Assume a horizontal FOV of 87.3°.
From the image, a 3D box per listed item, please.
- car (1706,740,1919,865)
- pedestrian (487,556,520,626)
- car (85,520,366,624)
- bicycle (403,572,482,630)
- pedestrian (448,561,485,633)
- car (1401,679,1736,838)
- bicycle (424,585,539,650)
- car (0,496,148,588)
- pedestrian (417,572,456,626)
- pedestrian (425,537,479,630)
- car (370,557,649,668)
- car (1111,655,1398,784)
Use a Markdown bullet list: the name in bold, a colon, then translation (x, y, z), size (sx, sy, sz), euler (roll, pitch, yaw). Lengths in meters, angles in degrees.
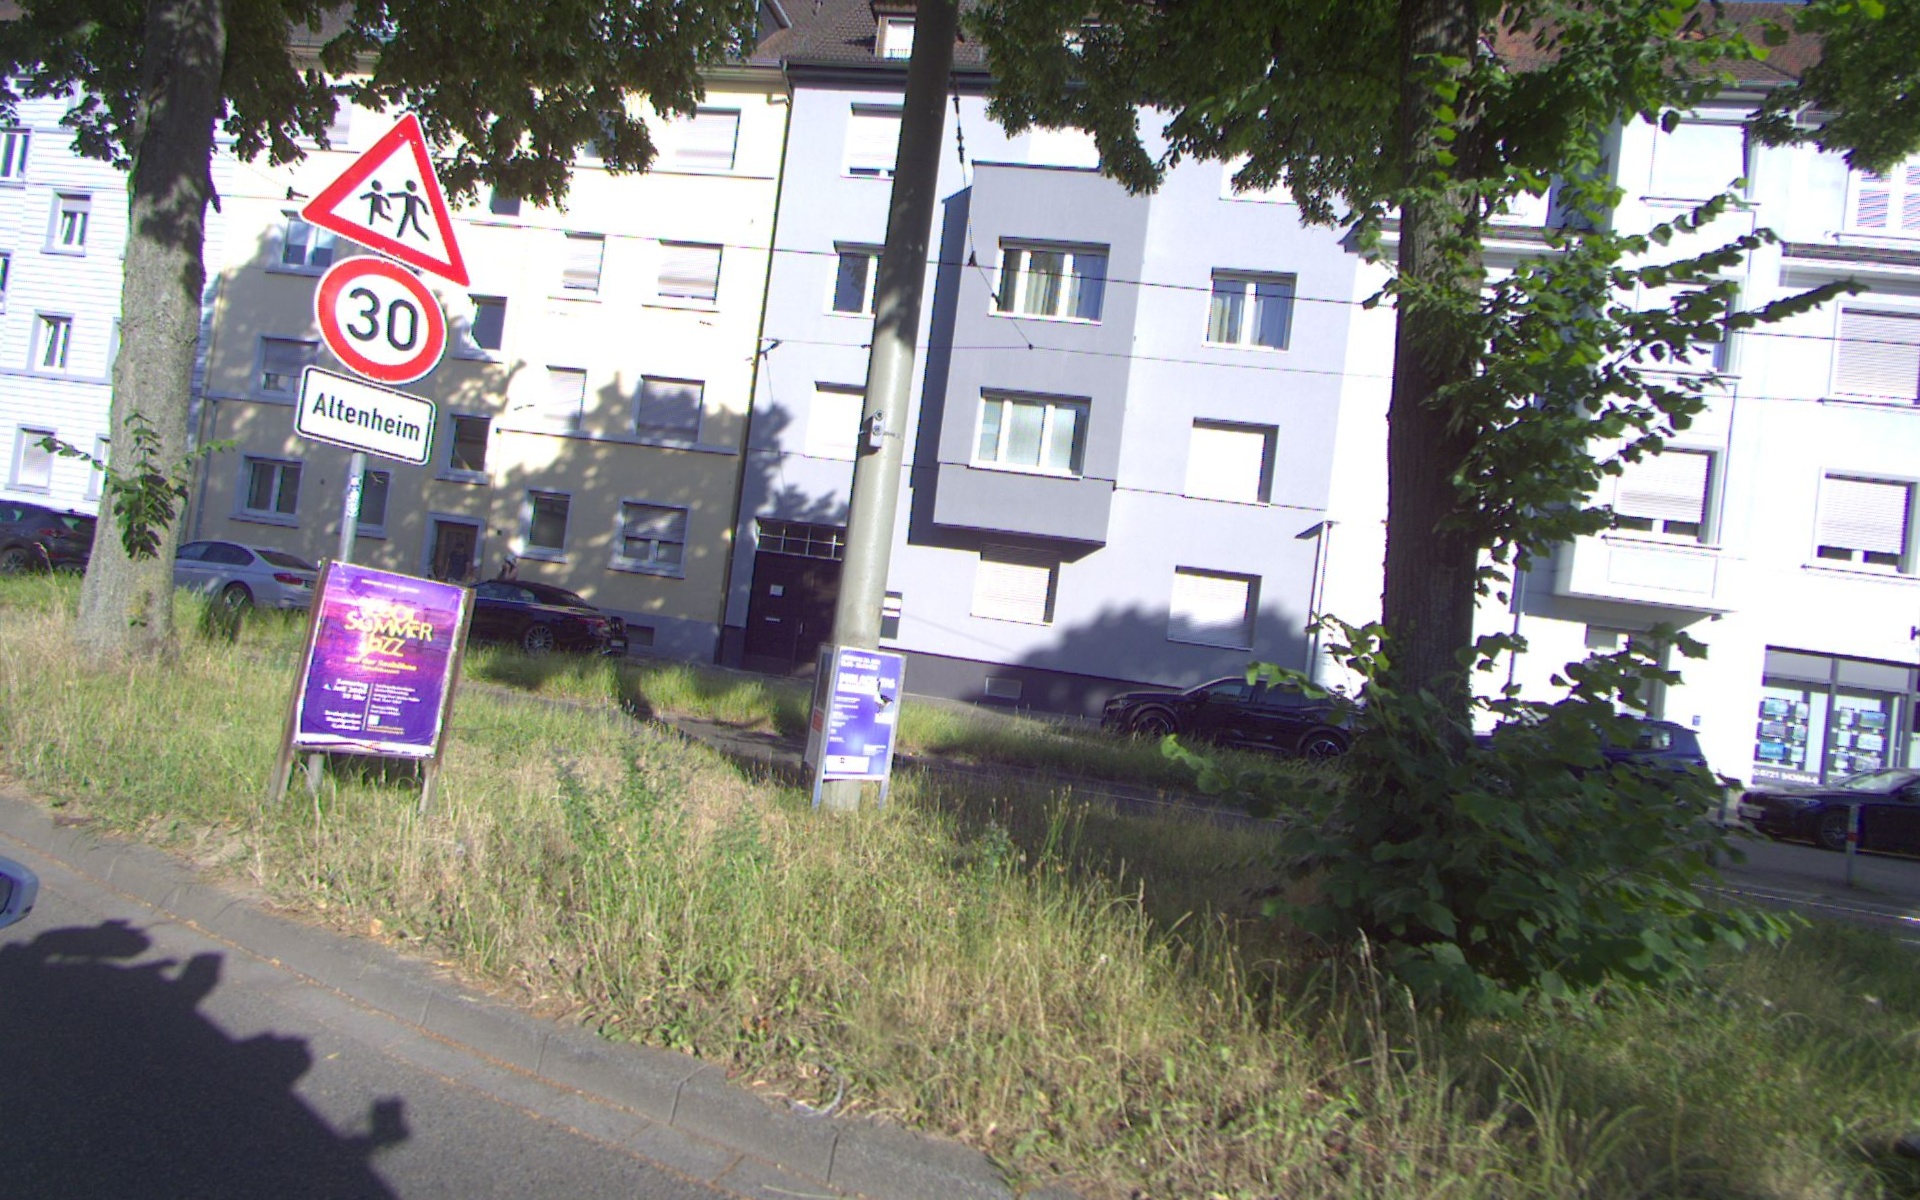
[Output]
- **car**: translation (14.753, 3.332, 15.939), size (4.129, 1.403, 2.002), euler (8, -1, 10)
- **pedestrian**: translation (-10.327, -0.199, 22.765), size (0.435, 1.533, 0.305), euler (7, 0, 1)
- **car**: translation (-14.936, -0.532, 20.584), size (4.362, 1.402, 2.002), euler (8, -1, 8)
- **bicycle**: translation (-11.866, 0.023, 23.079), size (1.487, 1.145, 0.536), euler (7, -1, 8)
- **pedestrian**: translation (-10.778, -0.062, 21.976), size (0.435, 1.533, 0.333), euler (7, 0, 4)
- **car**: translation (9.882, 2.526, 16.692), size (4.129, 1.769, 2.002), euler (8, -1, 8)
- **bicycle**: translation (-10.556, 0.392, 22.193), size (2.264, 1.145, 0.536), euler (7, -1, 8)
- **car**: translation (-20.323, -1.385, 21.452), size (4.553, 1.591, 2.002), euler (7, -1, 8)
- **pedestrian**: translation (-11.157, -0.007, 21.449), size (0.452, 1.078, 0.433), euler (7, -1, 9)
- **pedestrian**: translation (-11.687, -0.369, 23.172), size (0.637, 2.037, 0.614), euler (7, -1, 8)
- **car**: translation (-8.554, 0.261, 19.311), size (4.362, 1.402, 2.002), euler (8, -1, 8)
- **car**: translation (4.895, 1.974, 17.352), size (4.362, 1.402, 2.002), euler (8, -1, 8)
